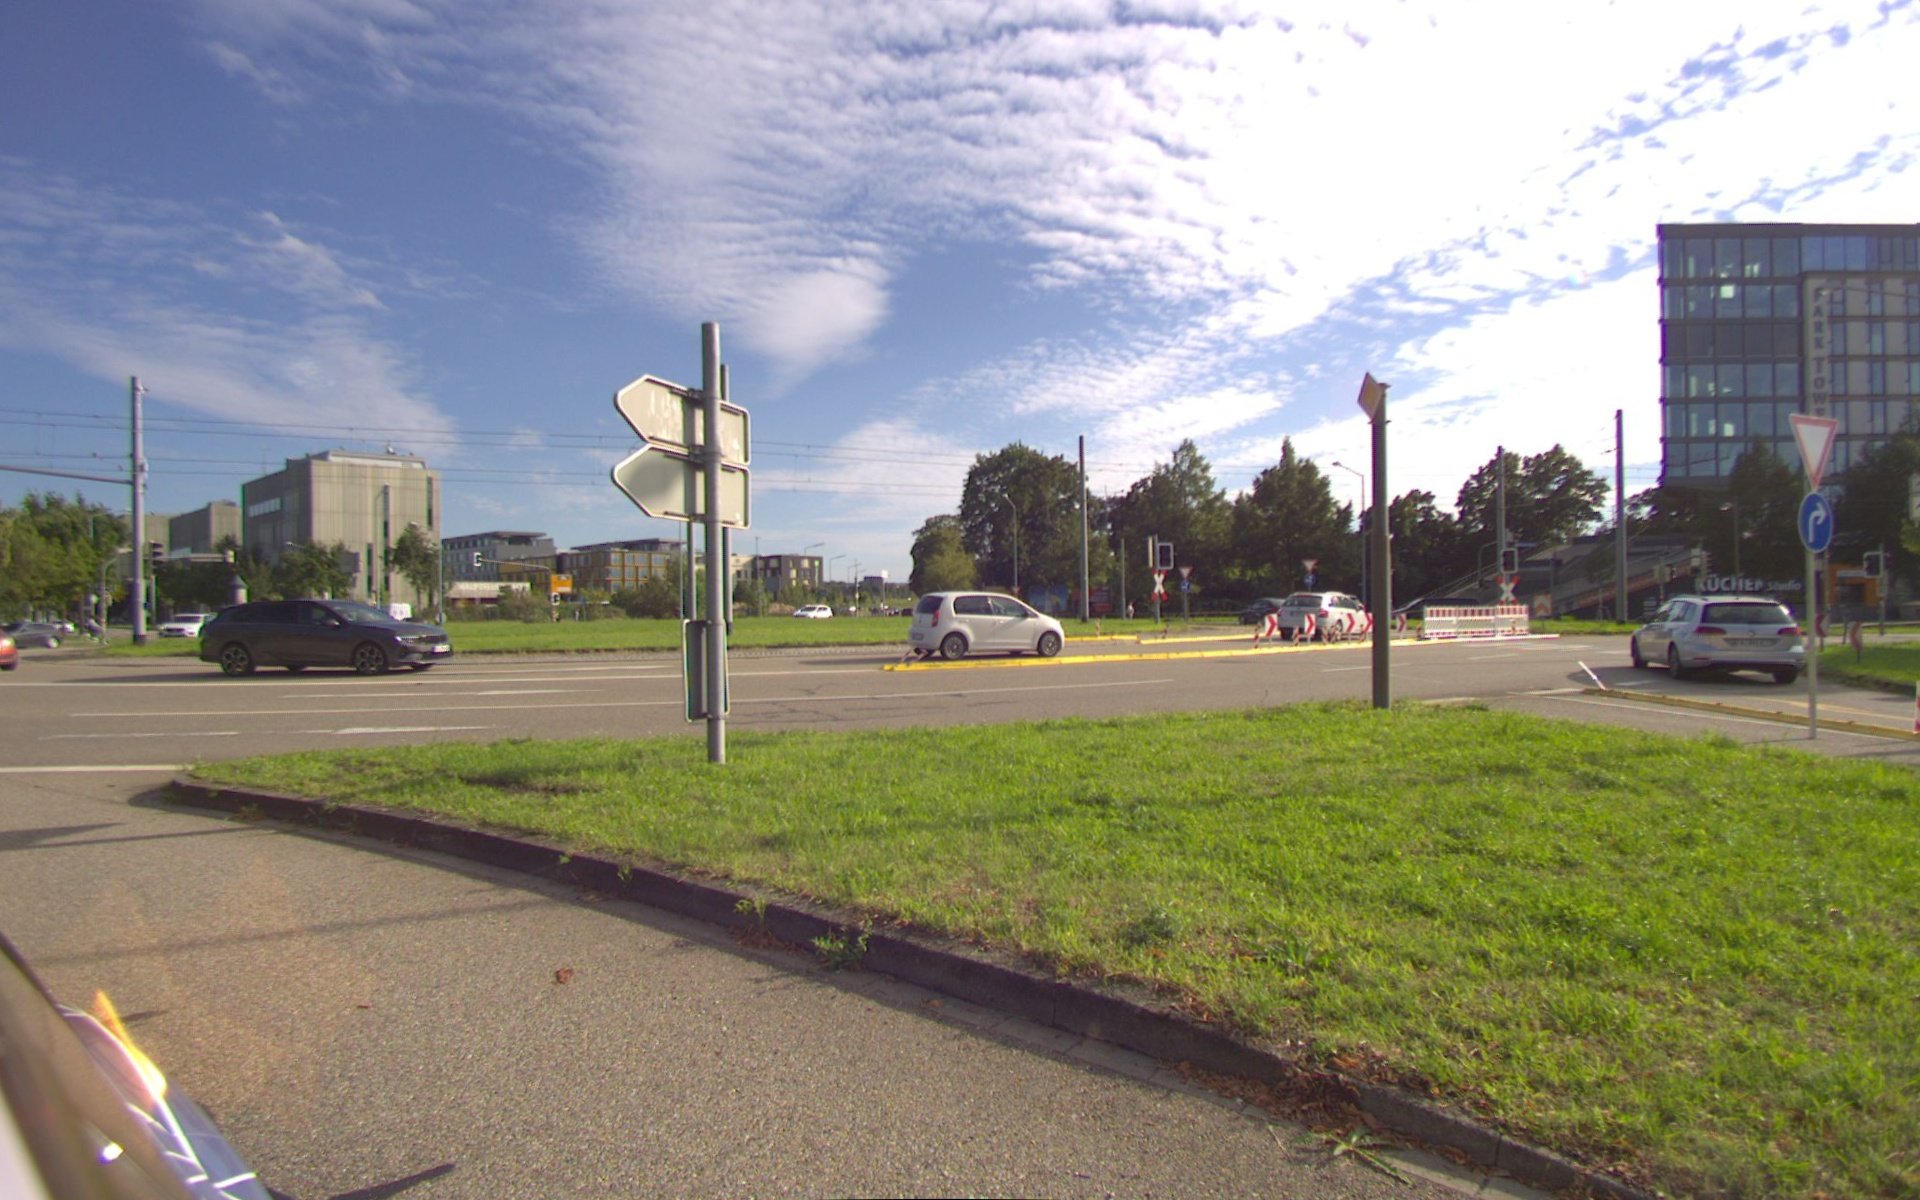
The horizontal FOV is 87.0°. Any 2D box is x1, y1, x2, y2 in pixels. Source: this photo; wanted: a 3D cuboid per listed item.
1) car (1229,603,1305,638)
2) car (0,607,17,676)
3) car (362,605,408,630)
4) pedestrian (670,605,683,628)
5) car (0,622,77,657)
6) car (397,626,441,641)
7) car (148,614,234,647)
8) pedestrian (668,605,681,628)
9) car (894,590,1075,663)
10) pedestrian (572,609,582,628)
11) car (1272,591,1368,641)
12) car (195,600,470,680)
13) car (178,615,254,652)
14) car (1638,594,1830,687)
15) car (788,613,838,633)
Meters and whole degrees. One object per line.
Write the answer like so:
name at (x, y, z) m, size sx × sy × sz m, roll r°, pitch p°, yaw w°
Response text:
car at (15.725, 1.010, 52.042) m, size 1.967 × 1.552 × 4.010 m, roll -3°, pitch 1°, yaw -12°
car at (-22.918, 0.944, 22.713) m, size 4.216 × 1.486 × 1.675 m, roll -1°, pitch 0°, yaw 34°
car at (-55.725, 1.755, 98.063) m, size 6.021 × 2.281 × 2.037 m, roll -2°, pitch -3°, yaw 41°
pedestrian at (-25.214, 1.477, 90.047) m, size 0.882 × 1.930 × 0.868 m, roll -2°, pitch 1°, yaw -8°
car at (-48.421, 2.014, 52.188) m, size 1.969 × 1.674 × 4.809 m, roll -1°, pitch 0°, yaw -6°
car at (-46.386, 2.882, 86.694) m, size 3.984 × 1.275 × 1.666 m, roll -1°, pitch -3°, yaw 34°
car at (-42.906, 1.664, 56.599) m, size 1.967 × 1.674 × 4.815 m, roll -1°, pitch 0°, yaw -12°
pedestrian at (-25.597, 1.476, 90.772) m, size 0.882 × 1.930 × 0.868 m, roll -2°, pitch 1°, yaw -8°
car at (0.554, 0.537, 22.546) m, size 3.597 × 1.475 × 1.773 m, roll -1°, pitch 0°, yaw -28°
pedestrian at (-34.660, 1.683, 91.618) m, size 0.658 × 1.641 × 0.620 m, roll -2°, pitch 0°, yaw 44°
car at (11.428, 0.451, 31.947) m, size 1.851 × 1.456 × 4.586 m, roll 1°, pitch 1°, yaw 33°
car at (-12.266, 0.761, 19.926) m, size 4.391 × 1.431 × 1.822 m, roll -1°, pitch 0°, yaw 5°
car at (-37.584, 1.653, 51.236) m, size 1.965 × 1.674 × 4.819 m, roll -1°, pitch 0°, yaw -22°
car at (13.820, 0.641, 18.368) m, size 1.813 × 1.463 × 4.503 m, roll -1°, pitch 0°, yaw 25°
car at (-11.894, 1.841, 81.903) m, size 1.884 × 1.588 × 4.385 m, roll -1°, pitch 0°, yaw 26°
